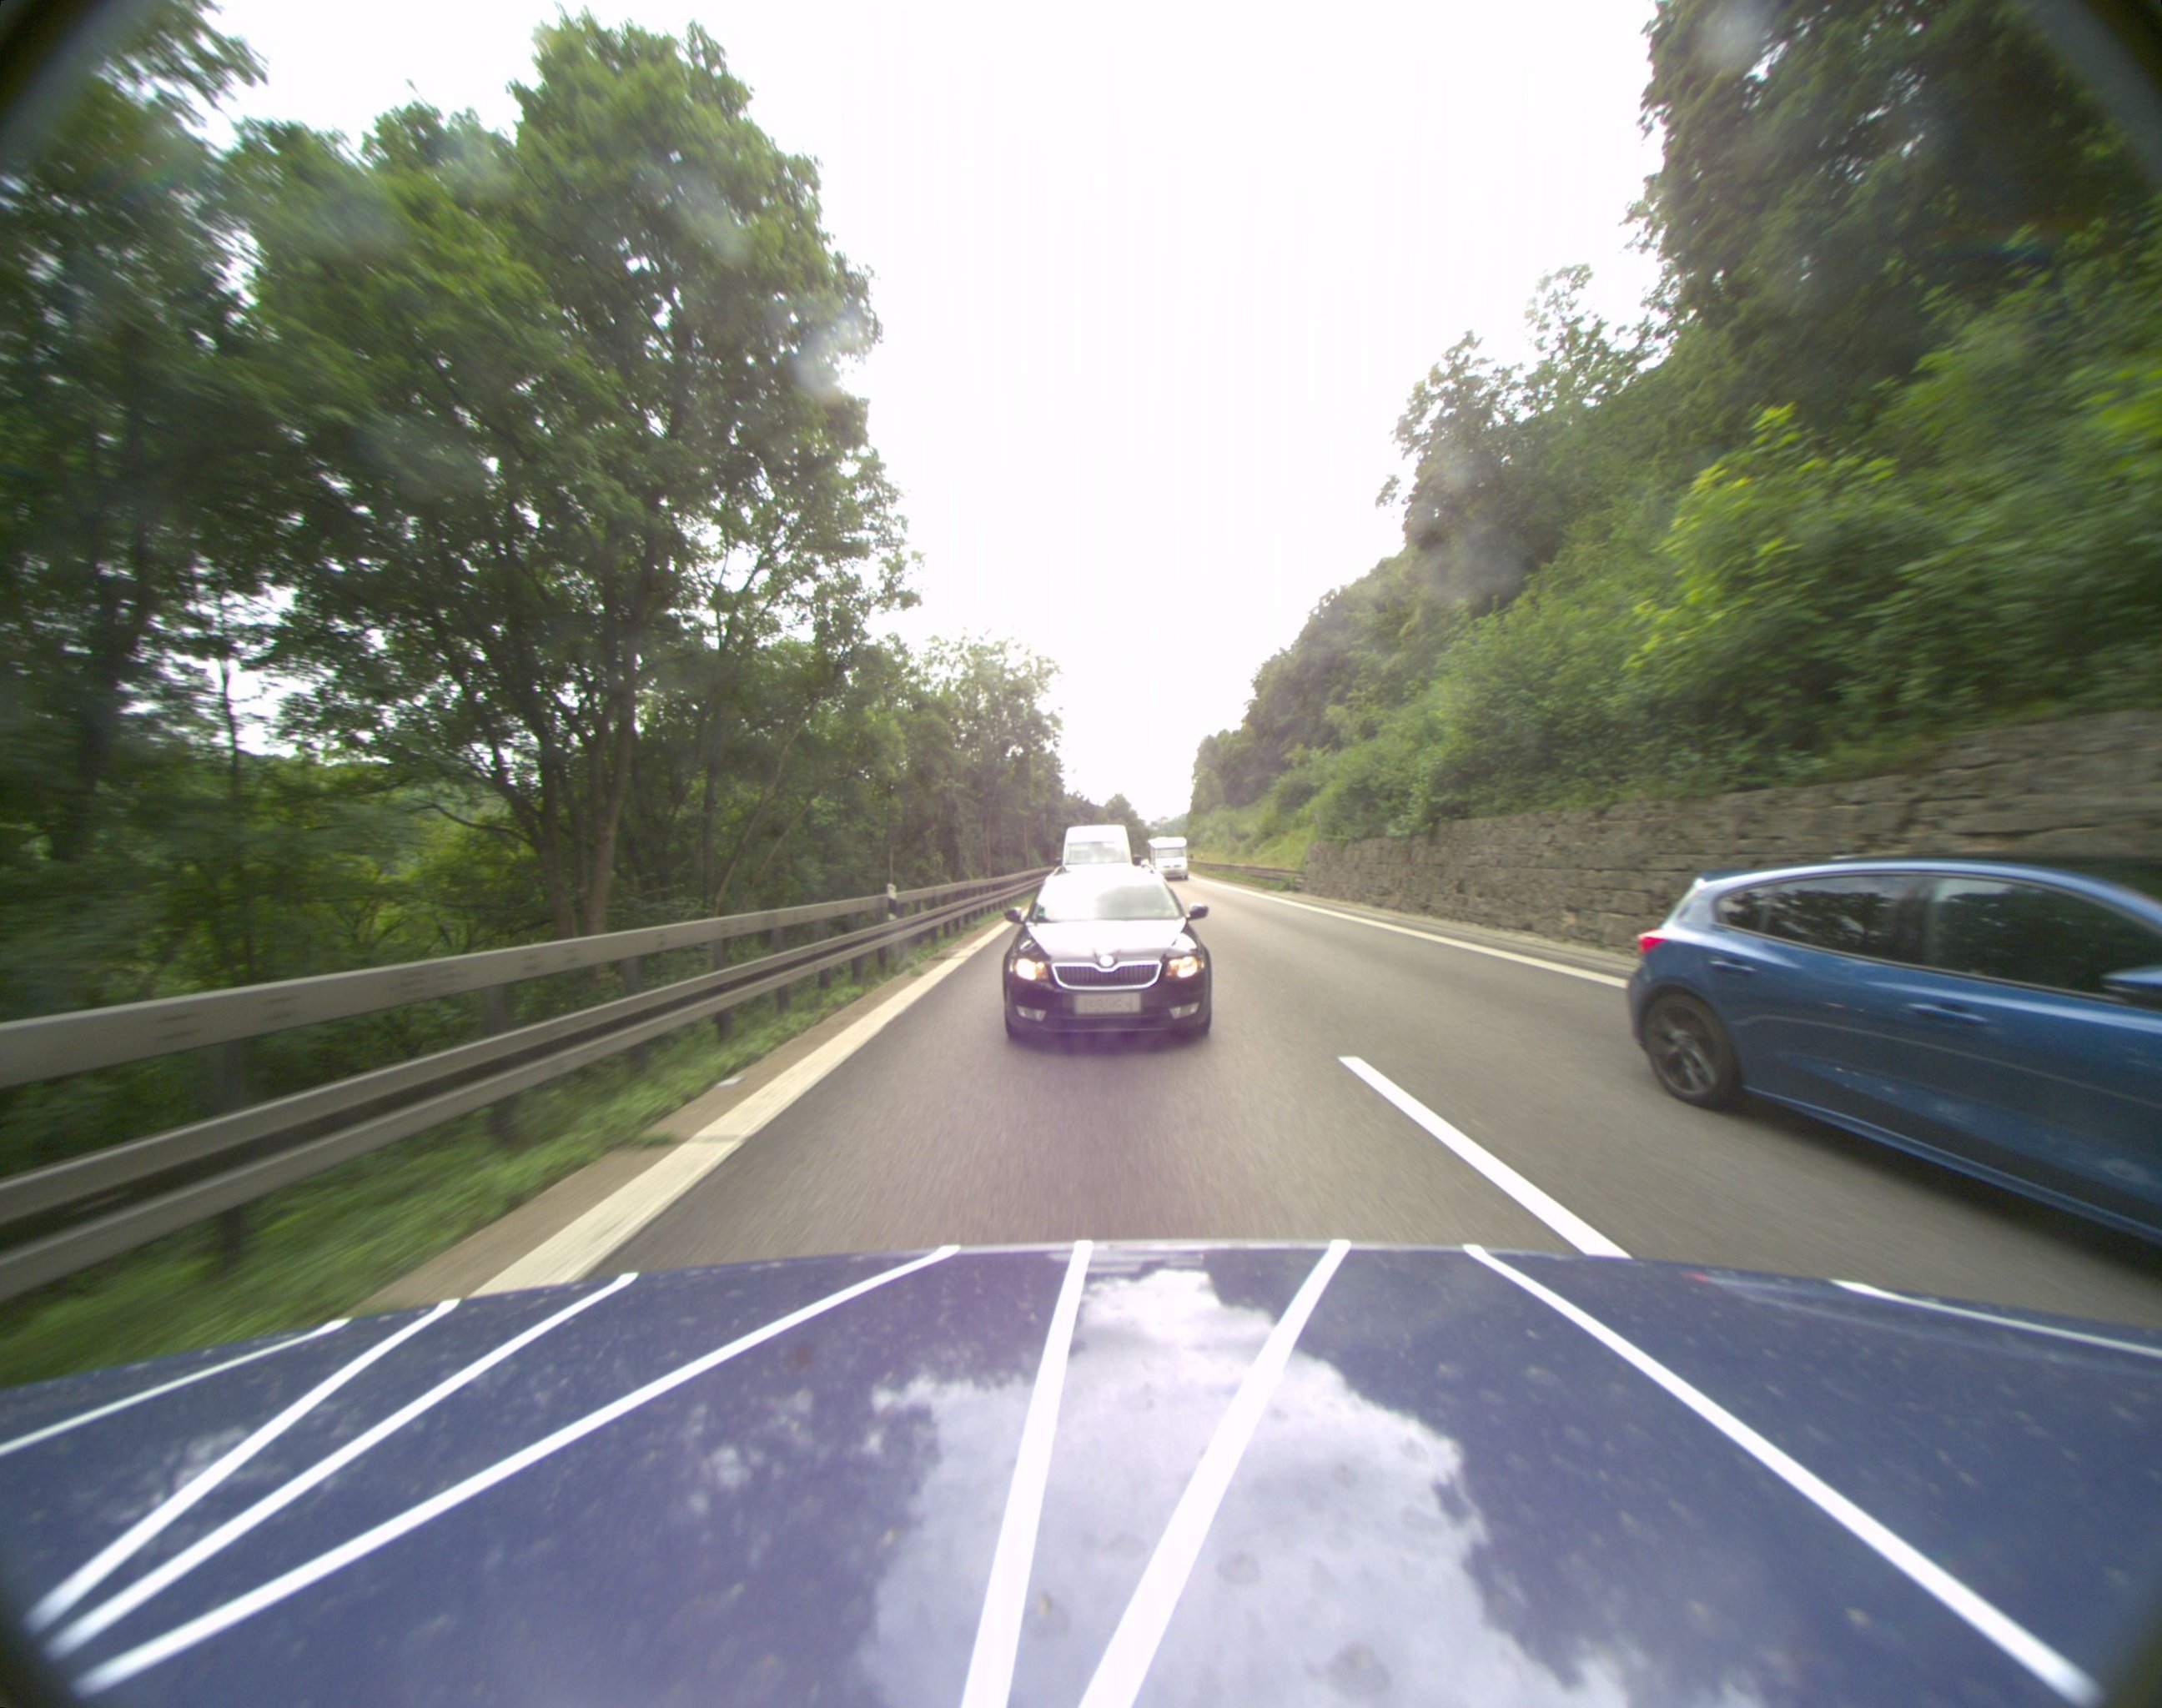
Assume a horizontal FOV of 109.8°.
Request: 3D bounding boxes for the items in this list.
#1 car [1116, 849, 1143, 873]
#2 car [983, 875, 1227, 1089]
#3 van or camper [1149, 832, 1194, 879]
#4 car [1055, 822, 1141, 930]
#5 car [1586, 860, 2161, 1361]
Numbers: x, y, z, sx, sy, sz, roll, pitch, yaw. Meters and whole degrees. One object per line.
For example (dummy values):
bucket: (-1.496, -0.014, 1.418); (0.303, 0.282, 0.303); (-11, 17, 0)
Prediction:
car: (3.730, 0.507, 59.417); (1.808, 1.772, 4.000); (-2, 0, 0)
car: (0.135, 0.998, 7.796); (1.751, 1.409, 4.400); (-2, 0, -1)
van or camper: (5.695, 0.103, 48.663); (2.270, 2.719, 7.025); (-2, 0, 3)
car: (0.536, 0.515, 21.058); (2.000, 2.545, 5.128); (-2, 0, 3)
car: (4.274, 0.820, 2.723); (1.840, 1.460, 4.554); (-2, 0, 0)
